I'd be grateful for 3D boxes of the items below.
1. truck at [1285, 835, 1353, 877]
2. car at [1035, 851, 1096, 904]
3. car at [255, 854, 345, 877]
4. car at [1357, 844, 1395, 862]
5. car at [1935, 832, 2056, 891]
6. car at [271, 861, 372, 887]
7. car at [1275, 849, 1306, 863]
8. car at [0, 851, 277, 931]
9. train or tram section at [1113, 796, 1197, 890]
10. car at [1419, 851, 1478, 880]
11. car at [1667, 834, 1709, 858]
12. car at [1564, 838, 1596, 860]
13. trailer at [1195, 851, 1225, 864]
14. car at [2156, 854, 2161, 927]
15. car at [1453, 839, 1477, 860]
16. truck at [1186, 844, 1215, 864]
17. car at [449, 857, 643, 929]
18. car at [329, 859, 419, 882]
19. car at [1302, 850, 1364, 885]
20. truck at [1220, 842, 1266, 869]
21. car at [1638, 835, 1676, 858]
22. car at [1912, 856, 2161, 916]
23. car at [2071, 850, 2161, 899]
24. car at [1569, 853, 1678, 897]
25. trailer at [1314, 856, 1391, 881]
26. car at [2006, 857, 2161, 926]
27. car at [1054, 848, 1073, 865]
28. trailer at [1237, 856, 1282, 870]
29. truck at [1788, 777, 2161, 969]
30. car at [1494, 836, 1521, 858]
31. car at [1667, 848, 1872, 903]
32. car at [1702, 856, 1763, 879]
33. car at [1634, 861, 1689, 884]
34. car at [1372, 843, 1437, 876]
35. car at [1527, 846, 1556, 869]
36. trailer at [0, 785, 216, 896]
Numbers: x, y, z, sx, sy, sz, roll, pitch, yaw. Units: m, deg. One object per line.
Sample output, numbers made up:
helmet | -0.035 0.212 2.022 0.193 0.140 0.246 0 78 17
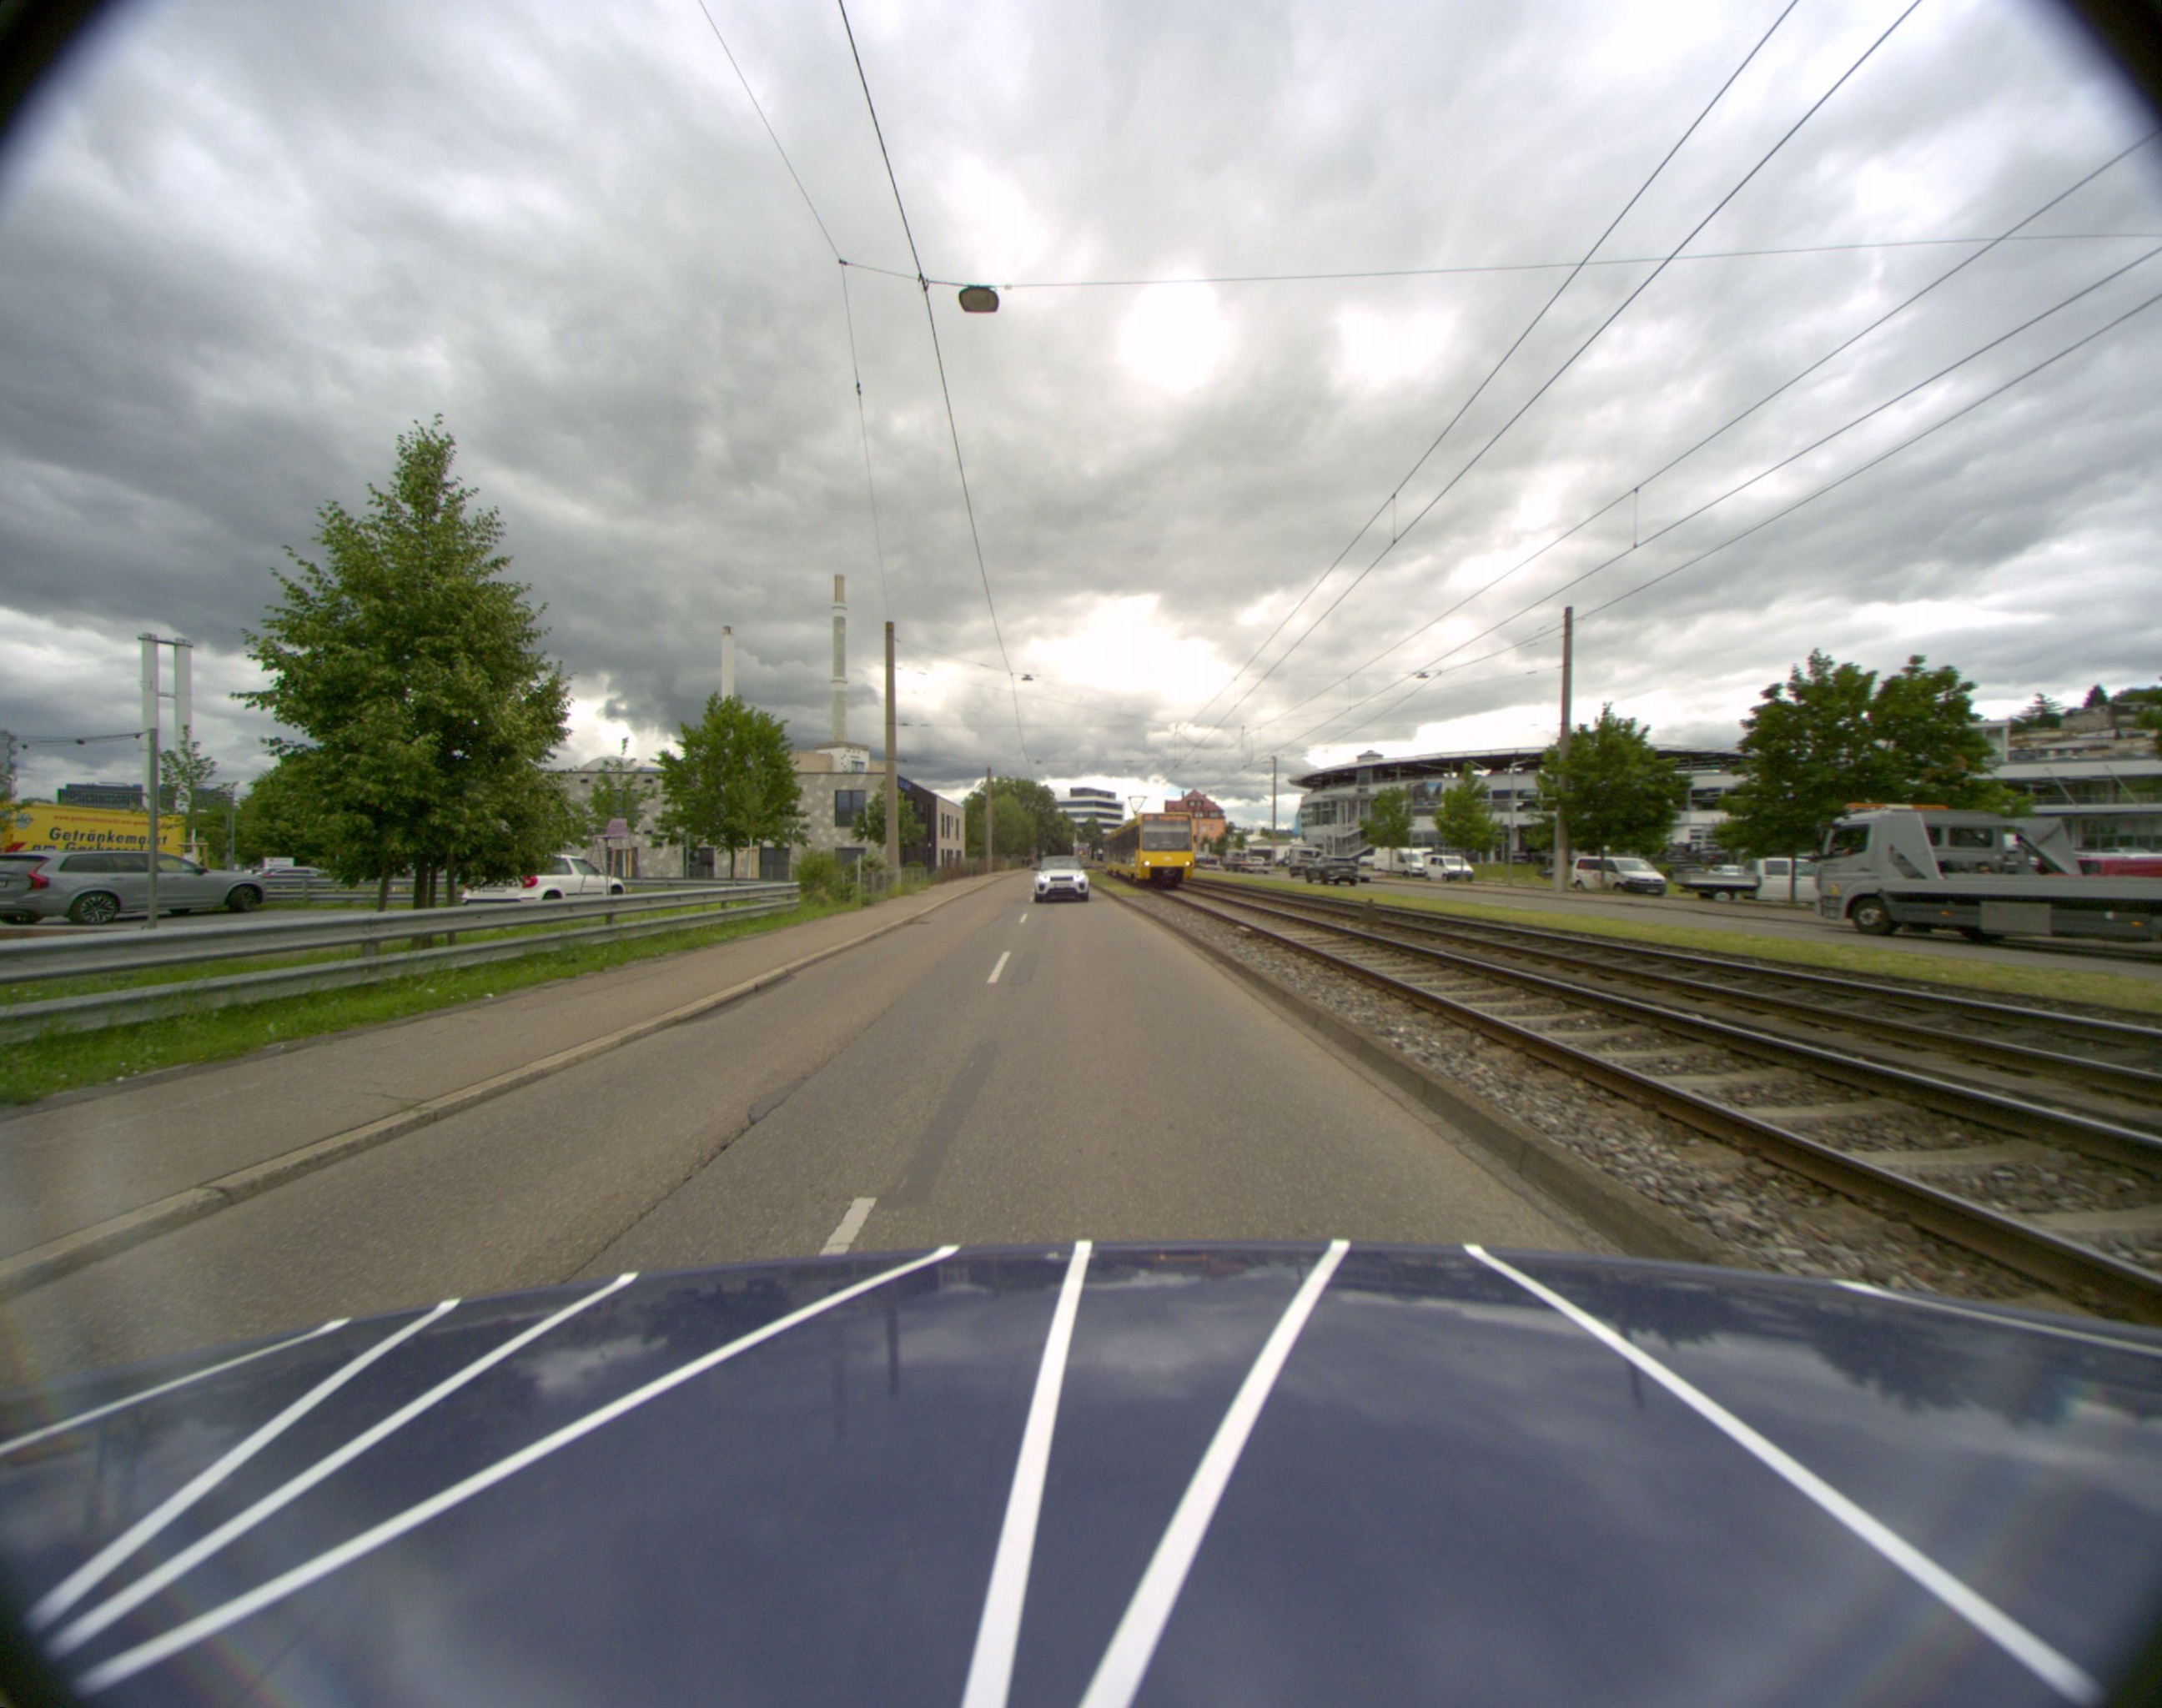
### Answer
truck | 18.724 0.159 60.323 2.870 2.964 8.455 2 0 1
car | -0.534 0.794 27.785 1.999 1.718 4.000 -2 0 0
car | -57.563 0.813 56.068 1.994 1.575 4.385 0 0 37
car | 33.473 -0.127 86.107 4.007 2.002 1.995 0 0 -33
car | 45.028 0.319 37.589 1.995 2.690 4.869 0 1 26
car | -49.291 1.241 49.380 1.994 1.575 4.385 0 0 37
car | 28.800 0.278 104.617 3.993 1.936 2.002 0 0 11
car | -23.129 0.783 18.555 1.916 1.710 4.689 0 0 2
train or tram section | 3.547 -0.582 41.360 3.396 3.984 16.944 -2 1 2
car | 26.921 0.803 55.829 1.998 2.002 4.807 0 0 1
car | 52.138 -0.695 65.332 1.995 2.002 4.007 0 1 27
car | 46.270 -0.449 70.497 1.995 2.002 4.007 0 1 27
trailer | 18.321 0.502 108.170 2.985 1.678 7.568 0 0 0
car | 26.412 0.832 16.065 3.994 1.655 2.049 0 0 9
car | 36.960 -0.417 73.062 1.995 2.002 4.007 0 0 27
truck | 18.203 -0.014 116.496 3.057 2.843 9.066 0 0 0
car | -13.227 0.890 19.193 1.754 1.564 4.430 -2 0 -1
car | -50.426 1.131 54.271 1.994 1.575 4.385 0 0 37
car | 14.090 0.721 42.801 1.998 1.729 4.533 2 1 1
truck | 18.613 0.137 88.003 3.115 2.904 8.960 2 0 -1
car | 50.294 -0.661 66.446 1.995 2.002 4.007 0 1 27
car | 27.465 0.881 21.899 4.353 1.608 2.121 0 0 9
car | 47.802 0.870 34.306 1.994 2.116 4.870 0 1 30
car | 26.424 0.949 37.268 1.998 2.002 4.861 0 1 2
trailer | 18.581 0.916 52.475 2.764 1.486 7.225 2 0 1
car | 26.466 0.894 18.825 4.185 1.608 2.064 0 0 9
car | -1.941 0.264 84.899 1.999 1.881 4.625 0 0 -3
trailer | 18.689 0.880 80.019 3.057 1.270 7.006 2 0 -1
truck | 16.826 0.304 12.228 2.762 2.726 9.222 2 0 5
car | 39.907 -0.624 71.140 1.995 2.002 4.007 0 0 27
car | 27.293 0.794 30.451 5.700 1.996 2.147 1 1 25
car | 46.991 0.962 54.896 1.674 1.608 3.718 0 0 10
car | 42.551 1.332 55.811 1.674 1.608 3.718 0 0 10
car | 26.278 0.408 62.023 2.000 2.546 5.857 0 0 -11
car | 42.520 0.286 70.271 1.995 2.002 4.007 0 1 27
trailer | -41.232 -0.461 30.677 2.948 4.047 8.694 0 -1 -3
